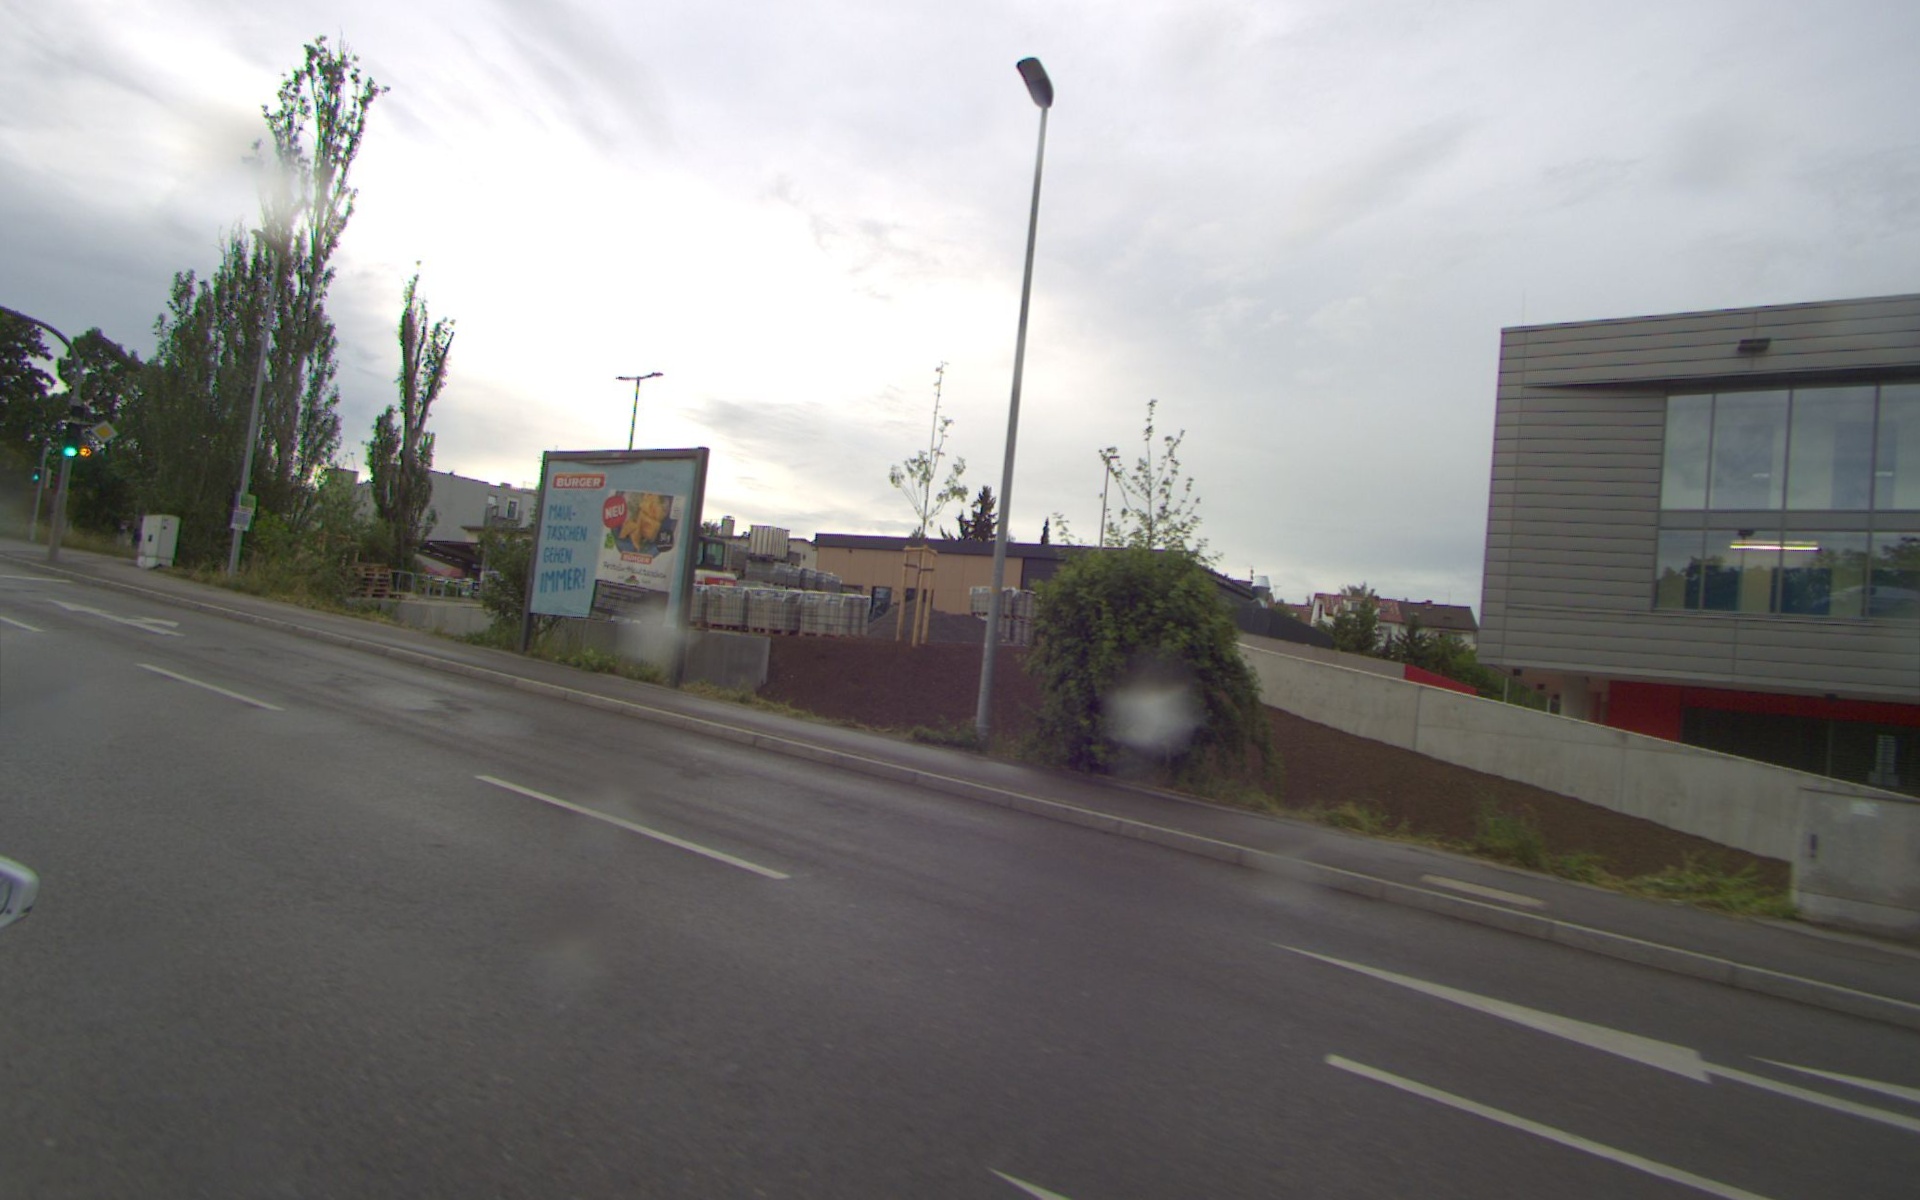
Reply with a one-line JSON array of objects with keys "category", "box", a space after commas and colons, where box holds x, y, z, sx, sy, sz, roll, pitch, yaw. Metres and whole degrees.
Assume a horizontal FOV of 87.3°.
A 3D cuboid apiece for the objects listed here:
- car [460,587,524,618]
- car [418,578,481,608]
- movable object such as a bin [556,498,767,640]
[{"category": "car", "box": [-32.949, 0.190, 70.881, 1.490, 1.581, 3.882, 7, -3, 25]}, {"category": "car", "box": [-37.403, -0.463, 73.757, 1.490, 1.581, 3.882, 7, -3, 25]}, {"category": "movable object such as a bin", "box": [-8.747, -0.906, 29.472, 5.326, 3.312, 2.311, 8, -2, 24]}]
